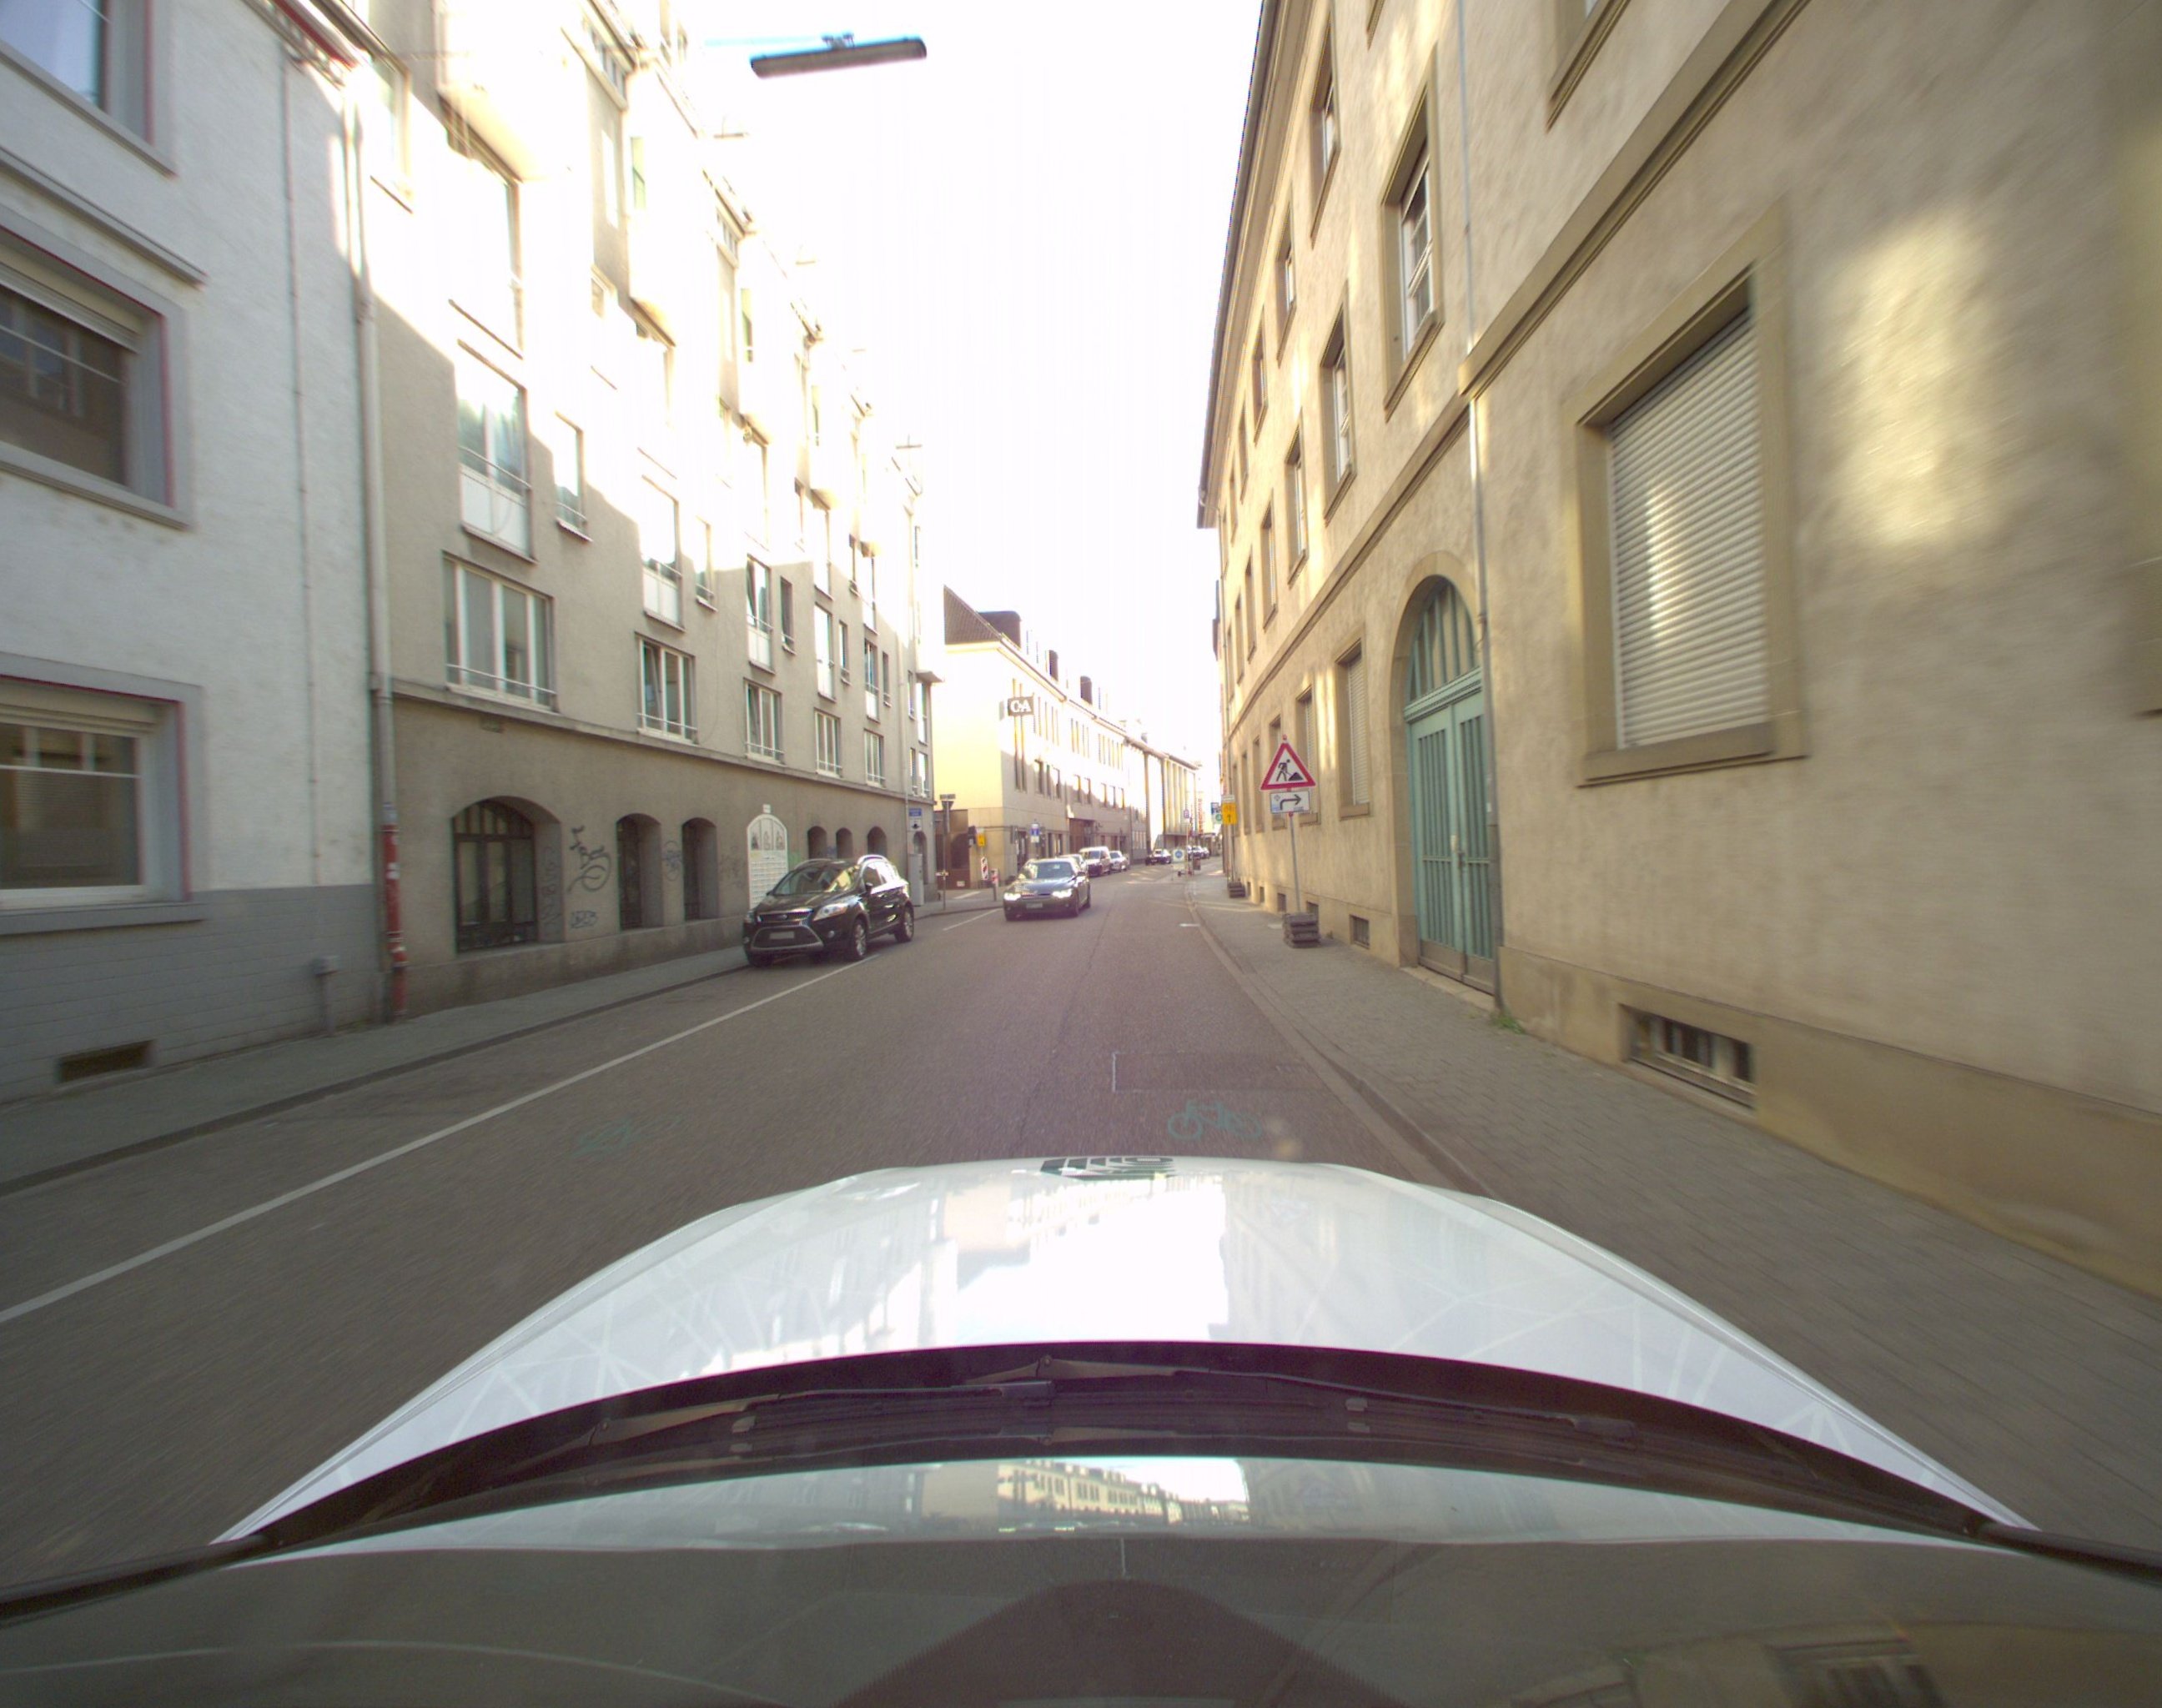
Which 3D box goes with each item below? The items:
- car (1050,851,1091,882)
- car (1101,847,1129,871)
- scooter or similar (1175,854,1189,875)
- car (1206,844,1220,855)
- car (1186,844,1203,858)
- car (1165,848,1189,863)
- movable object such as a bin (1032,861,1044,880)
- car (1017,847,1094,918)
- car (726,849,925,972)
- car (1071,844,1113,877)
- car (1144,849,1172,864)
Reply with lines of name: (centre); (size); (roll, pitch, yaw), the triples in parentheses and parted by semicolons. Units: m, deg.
car: (-0.557, 0.645, 44.809); (1.661, 1.507, 3.801); (-4, 0, 7)
car: (2.391, 0.356, 56.645); (1.262, 1.507, 3.414); (-4, 0, 13)
scooter or similar: (5.677, 0.582, 45.592); (0.766, 1.136, 0.270); (0, 0, 8)
car: (18.286, -0.646, 112.749); (1.328, 1.494, 3.361); (-3, 0, 16)
car: (13.368, -0.377, 95.832); (1.328, 1.494, 3.525); (-3, 0, 16)
car: (9.753, 0.103, 82.777); (1.711, 1.340, 4.017); (-3, 0, 16)
movable object such as a bin: (-2.456, 0.922, 46.158); (0.606, 1.060, 0.714); (0, 0, 3)
car: (-0.728, 0.669, 21.025); (1.711, 1.578, 4.184); (-3, 0, -4)
car: (-4.272, 0.846, 14.398); (1.732, 1.711, 4.196); (-5, 0, 5)
car: (0.758, 0.371, 50.581); (1.659, 1.818, 4.567); (-4, 0, 12)
car: (7.270, 0.220, 76.675); (1.867, 1.332, 4.118); (-3, 0, 16)
